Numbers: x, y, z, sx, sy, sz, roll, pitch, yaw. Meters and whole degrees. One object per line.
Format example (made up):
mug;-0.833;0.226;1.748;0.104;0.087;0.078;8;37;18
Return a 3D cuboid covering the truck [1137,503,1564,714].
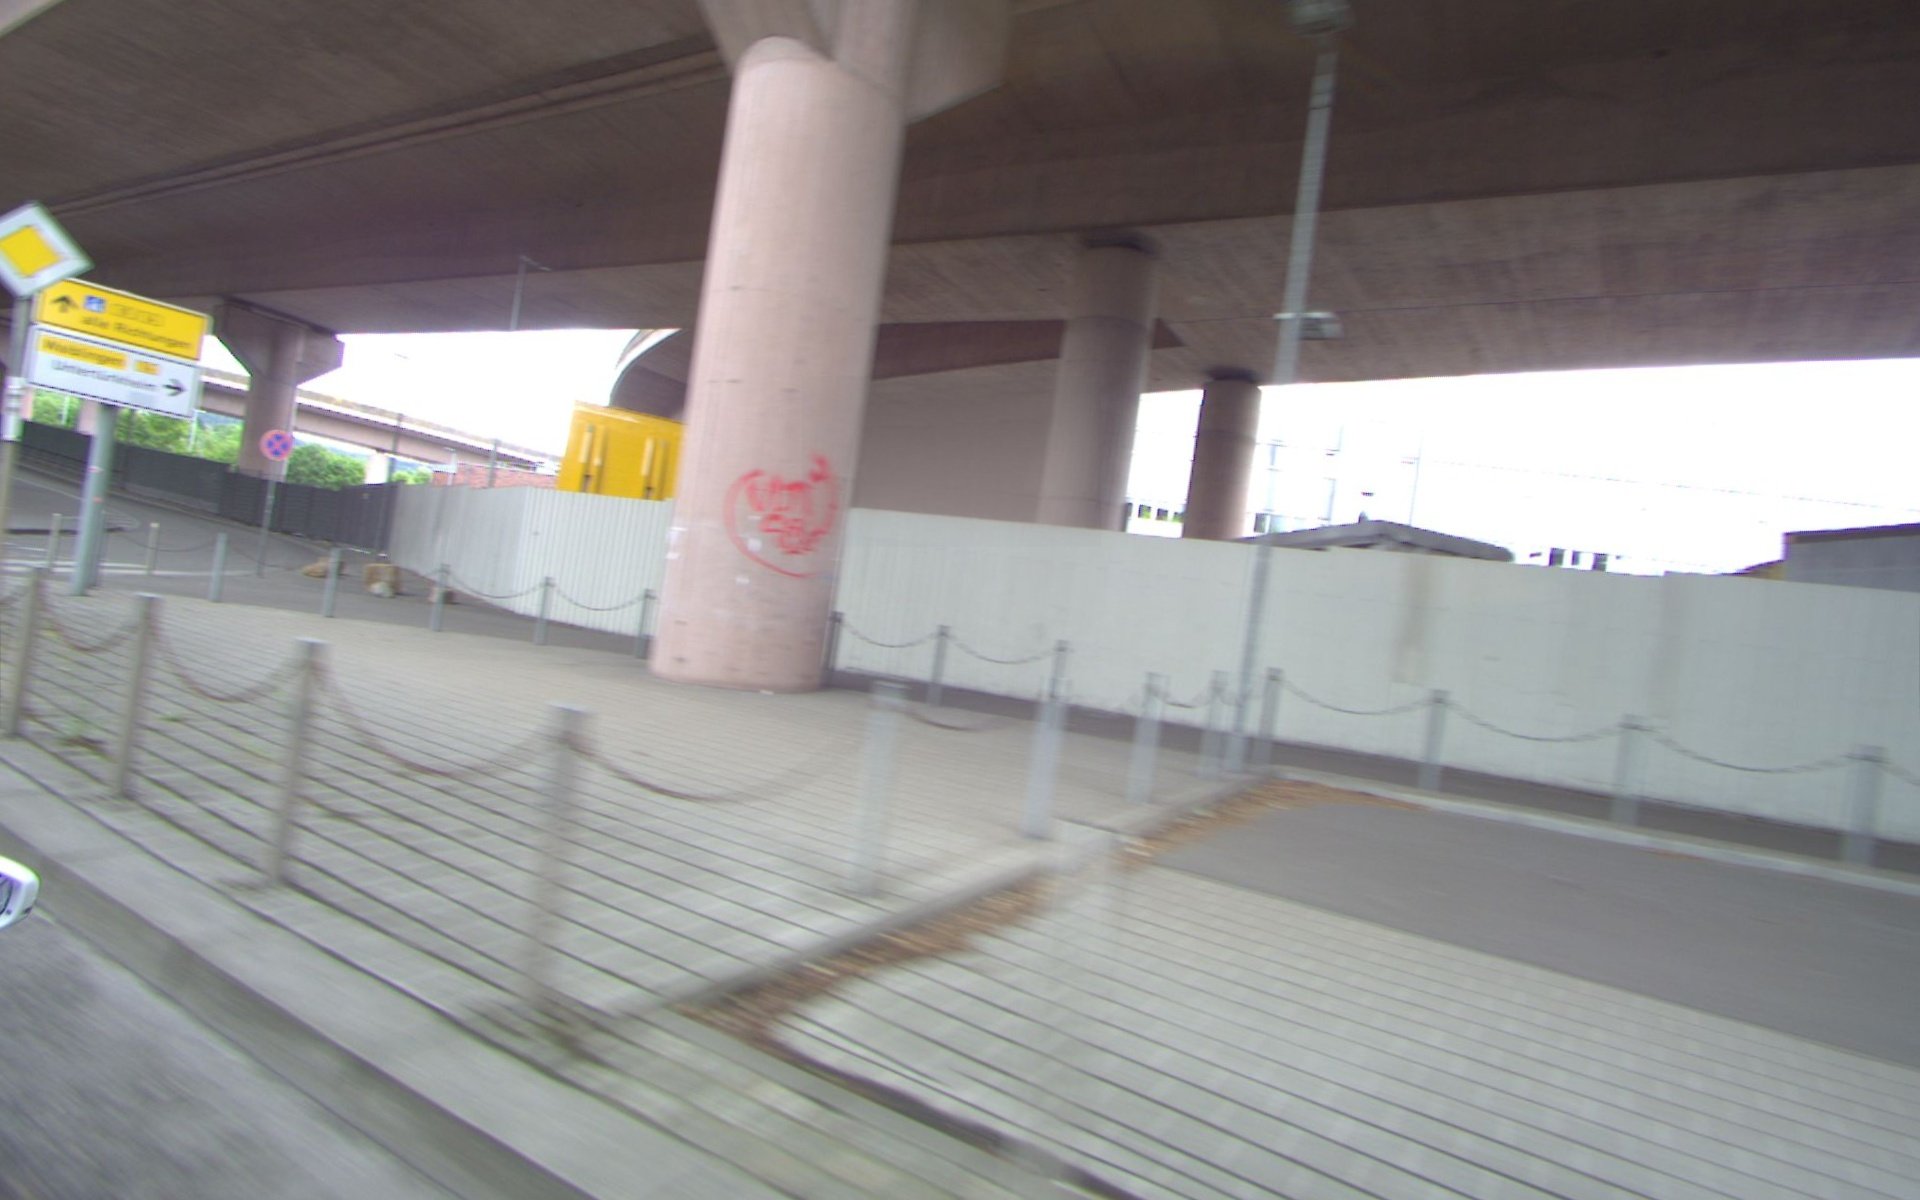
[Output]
truck;6.842;-0.012;19.751;3.097;2.982;8.688;5;1;-14

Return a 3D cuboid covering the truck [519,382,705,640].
truck;-8.490;-1.865;25.538;3.101;4.974;8.692;8;-1;-15

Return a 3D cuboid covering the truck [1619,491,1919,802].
truck;15.482;0.854;14.648;3.101;4.497;9.690;7;0;-17
